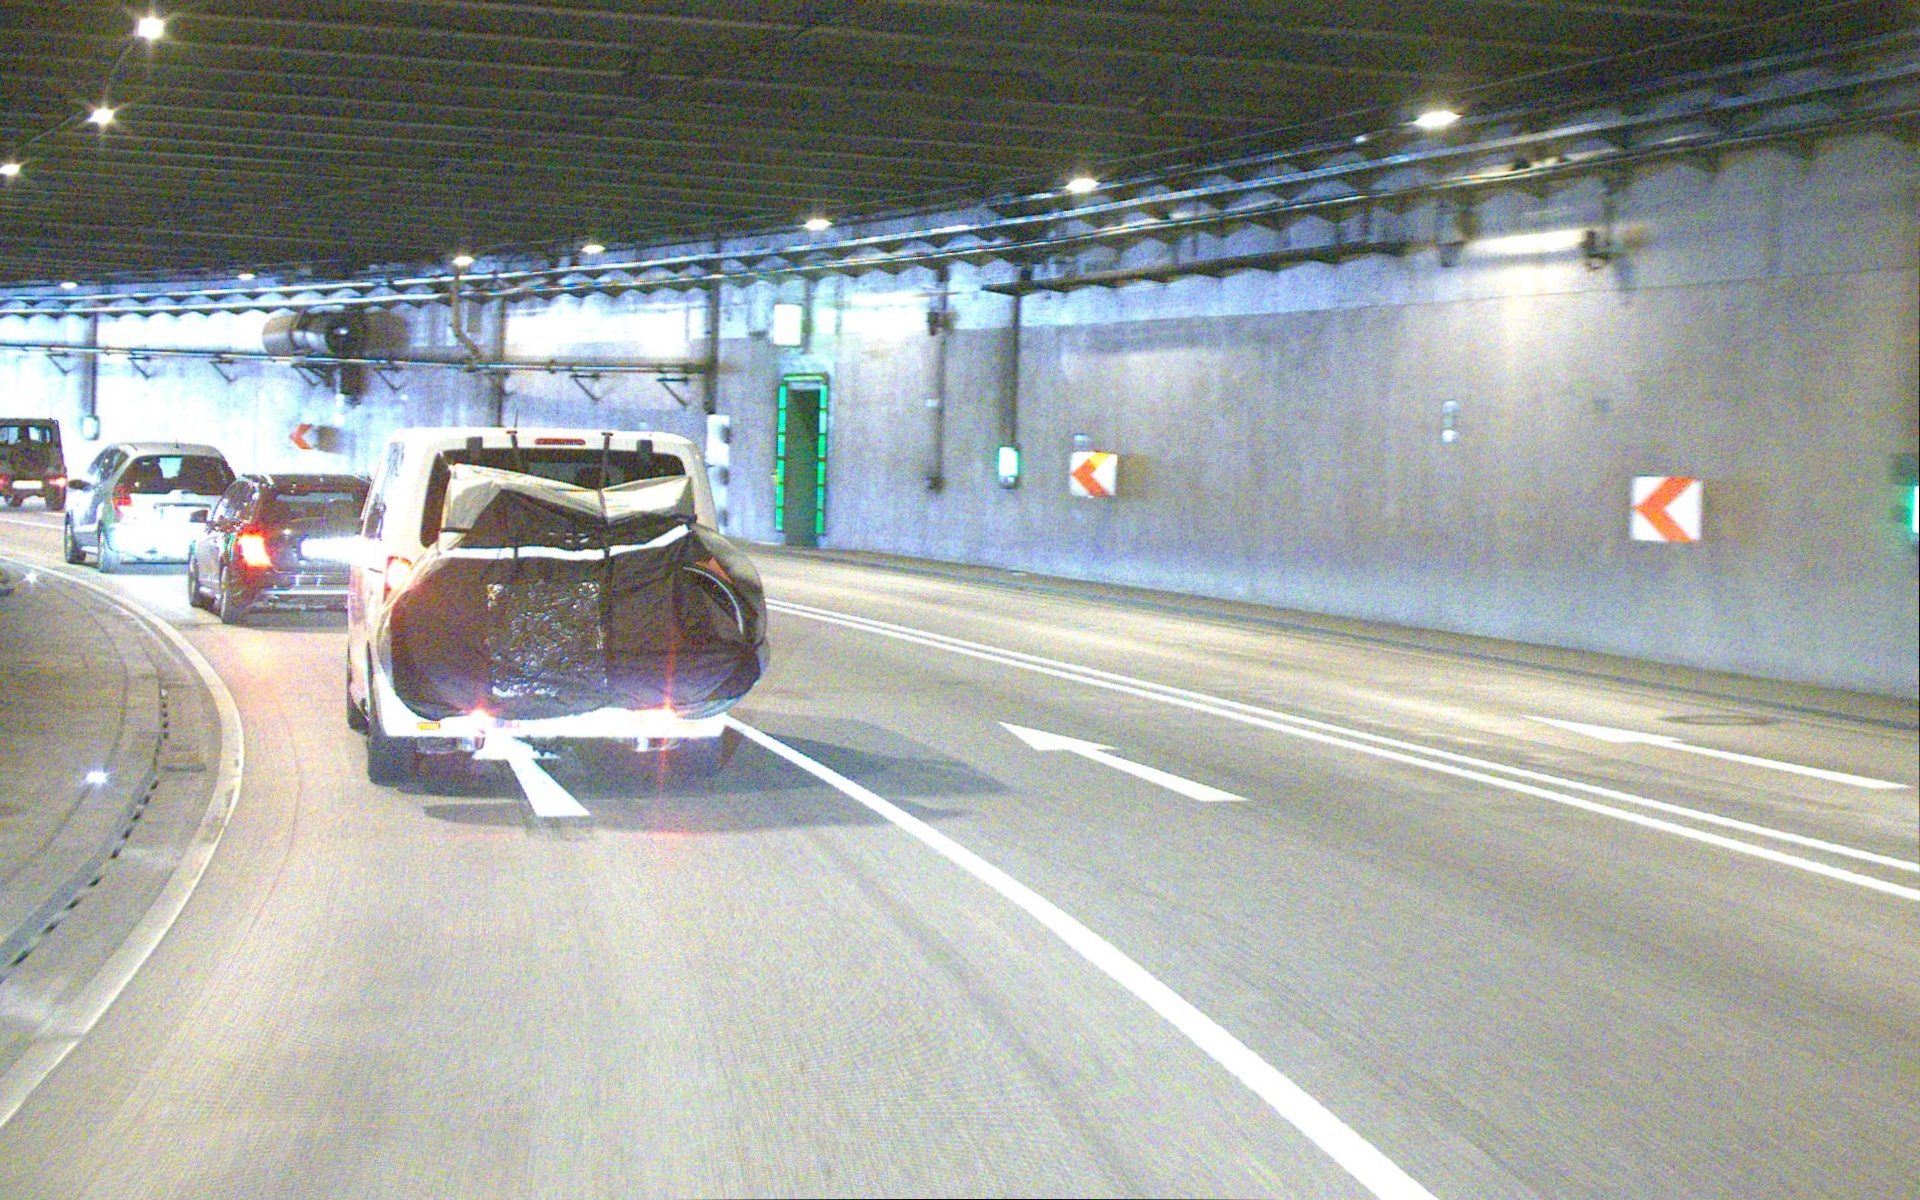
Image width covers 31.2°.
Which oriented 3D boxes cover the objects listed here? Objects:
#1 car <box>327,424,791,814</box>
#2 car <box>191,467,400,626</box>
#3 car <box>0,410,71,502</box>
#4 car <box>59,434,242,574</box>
[{"bbox_3d":[-2.376,-0.019,19.017,1.993,1.841,5.303,0,2,-13],"label":"car"},{"bbox_3d":[-6.367,-0.540,32.731,1.602,1.390,3.278,0,3,-17],"label":"car"},{"bbox_3d":[-17.428,-2.638,63.019,1.602,1.624,3.356,0,2,-25],"label":"car"},{"bbox_3d":[-9.945,-1.177,42.094,1.602,1.588,3.357,2,1,-23],"label":"car"}]
